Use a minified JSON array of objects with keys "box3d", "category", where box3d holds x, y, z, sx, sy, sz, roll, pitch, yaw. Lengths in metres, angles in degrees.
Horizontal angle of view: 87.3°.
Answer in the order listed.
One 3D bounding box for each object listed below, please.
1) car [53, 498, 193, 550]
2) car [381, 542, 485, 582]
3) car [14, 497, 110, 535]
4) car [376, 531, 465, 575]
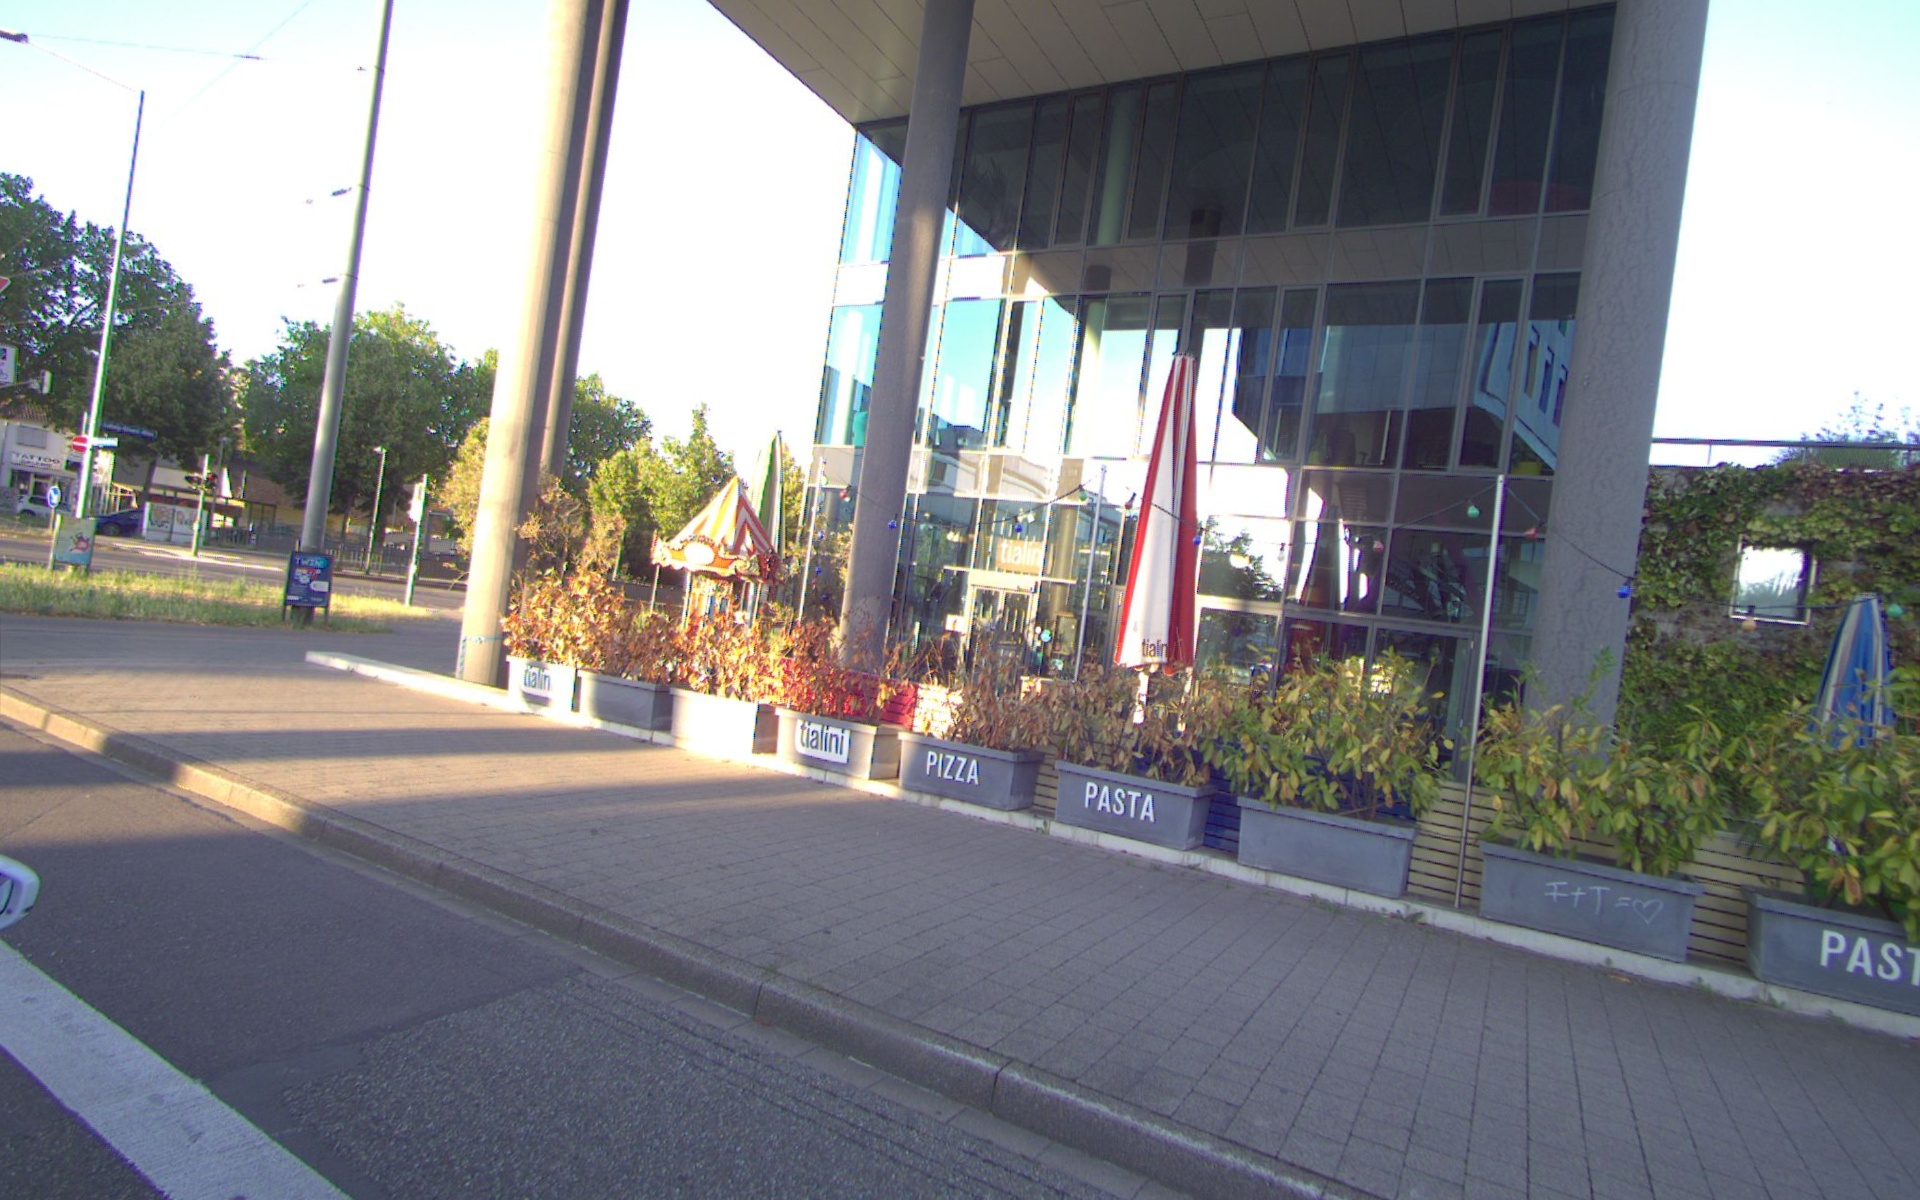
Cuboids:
[{"box3d":[-38.435,-3.469,46.289,1.968,1.570,4.479,6,-2,33],"category":"car"},{"box3d":[-31.194,-2.226,59.725,1.967,1.570,5.110,6,-2,31],"category":"car"},{"box3d":[-50.139,-4.682,56.225,1.641,1.456,3.736,6,-2,41],"category":"car"},{"box3d":[-42.600,-3.675,79.554,2.197,2.581,5.594,7,-2,39],"category":"car"}]
